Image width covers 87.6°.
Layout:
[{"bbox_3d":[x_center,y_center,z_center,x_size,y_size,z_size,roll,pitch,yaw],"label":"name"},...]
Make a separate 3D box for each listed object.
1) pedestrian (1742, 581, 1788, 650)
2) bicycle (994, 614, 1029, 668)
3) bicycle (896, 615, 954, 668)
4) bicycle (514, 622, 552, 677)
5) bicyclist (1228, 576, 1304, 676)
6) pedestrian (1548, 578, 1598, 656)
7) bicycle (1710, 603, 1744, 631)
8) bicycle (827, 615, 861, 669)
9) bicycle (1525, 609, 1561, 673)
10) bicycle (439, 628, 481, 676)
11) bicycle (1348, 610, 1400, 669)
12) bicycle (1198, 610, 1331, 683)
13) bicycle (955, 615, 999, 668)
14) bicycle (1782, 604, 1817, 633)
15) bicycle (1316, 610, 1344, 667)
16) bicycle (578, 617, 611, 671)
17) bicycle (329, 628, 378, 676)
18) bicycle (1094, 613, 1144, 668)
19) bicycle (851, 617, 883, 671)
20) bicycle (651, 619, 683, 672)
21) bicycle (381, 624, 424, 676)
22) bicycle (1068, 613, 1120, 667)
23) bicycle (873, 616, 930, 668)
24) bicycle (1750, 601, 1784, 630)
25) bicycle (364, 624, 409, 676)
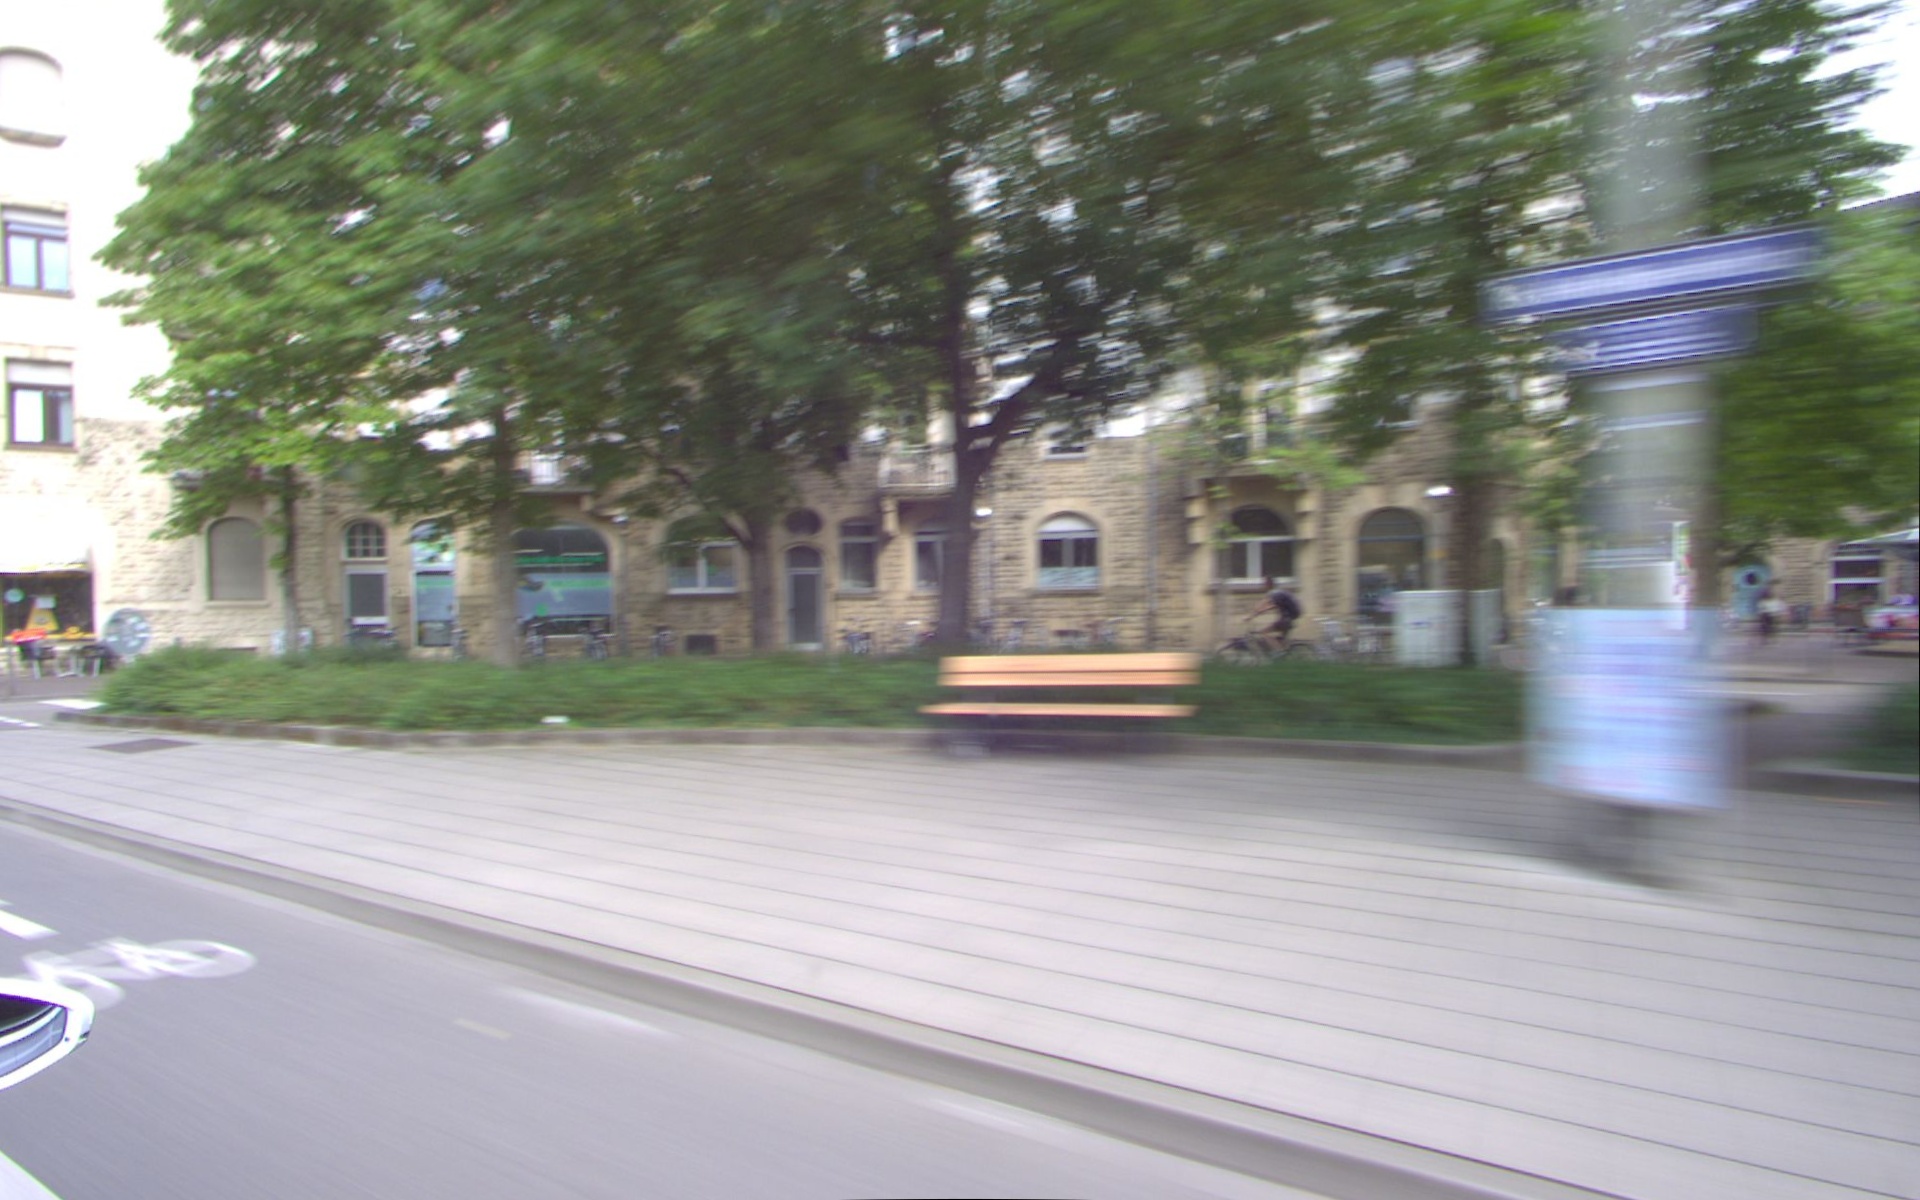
[{"bbox_3d":[19.759,0.367,24.574,0.825,1.645,0.727,-1,1,-38],"label":"pedestrian"},{"bbox_3d":[1.205,0.921,23.034,0.583,1.143,1.893,-1,0,9],"label":"bicycle"},{"bbox_3d":[-0.785,0.947,23.227,0.589,1.143,1.888,-1,0,23],"label":"bicycle"},{"bbox_3d":[-9.544,1.071,22.422,0.523,1.143,1.890,-1,0,-16],"label":"bicycle"},{"bbox_3d":[5.168,0.429,16.918,1.121,1.627,0.644,0,1,28],"label":"bicyclist"},{"bbox_3d":[13.732,0.375,22.421,0.825,1.698,0.727,-1,1,-38],"label":"pedestrian"},{"bbox_3d":[32.387,0.713,42.291,1.873,1.132,0.604,-1,1,-35],"label":"bicycle"},{"bbox_3d":[-2.697,0.960,23.475,0.522,1.143,1.893,-1,1,1],"label":"bicycle"},{"bbox_3d":[11.279,0.764,19.351,0.525,1.143,1.883,0,0,33],"label":"bicycle"},{"bbox_3d":[-11.131,1.130,22.322,0.523,0.985,1.646,-1,0,-16],"label":"bicycle"},{"bbox_3d":[8.529,0.789,20.604,0.526,1.143,1.880,0,0,37],"label":"bicycle"},{"bbox_3d":[5.145,0.768,16.942,2.070,1.167,0.652,-1,1,28],"label":"bicycle"},{"bbox_3d":[0.415,0.931,23.176,0.572,1.143,1.891,-1,0,15],"label":"bicycle"},{"bbox_3d":[33.810,0.723,40.306,1.873,1.132,0.604,-1,1,-35],"label":"bicycle"},{"bbox_3d":[7.836,0.790,21.177,0.523,1.143,1.889,-1,0,20],"label":"bicycle"},{"bbox_3d":[-8.284,0.976,22.740,0.523,1.143,1.890,-1,0,-16],"label":"bicycle"},{"bbox_3d":[-13.469,1.135,22.267,0.593,0.985,1.668,-1,0,-20],"label":"bicycle"},{"bbox_3d":[3.577,0.888,22.403,0.524,1.143,1.886,0,0,28],"label":"bicycle"},{"bbox_3d":[-2.156,1.005,23.441,0.522,1.143,1.893,-1,1,1],"label":"bicycle"},{"bbox_3d":[-6.718,1.017,22.988,0.655,1.143,1.890,-1,0,-16],"label":"bicycle"},{"bbox_3d":[-12.261,1.078,22.069,0.441,1.069,1.646,-1,0,-16],"label":"bicycle"},{"bbox_3d":[3.046,0.871,22.641,0.524,1.143,1.886,0,0,28],"label":"bicycle"},{"bbox_3d":[-1.348,0.956,23.416,0.554,1.143,1.888,-1,0,23],"label":"bicycle"},{"bbox_3d":[33.361,0.638,41.374,1.873,1.132,0.604,-1,1,-35],"label":"bicycle"},{"bbox_3d":[-12.661,1.079,22.138,0.441,1.069,1.646,-1,0,-16],"label":"bicycle"}]
